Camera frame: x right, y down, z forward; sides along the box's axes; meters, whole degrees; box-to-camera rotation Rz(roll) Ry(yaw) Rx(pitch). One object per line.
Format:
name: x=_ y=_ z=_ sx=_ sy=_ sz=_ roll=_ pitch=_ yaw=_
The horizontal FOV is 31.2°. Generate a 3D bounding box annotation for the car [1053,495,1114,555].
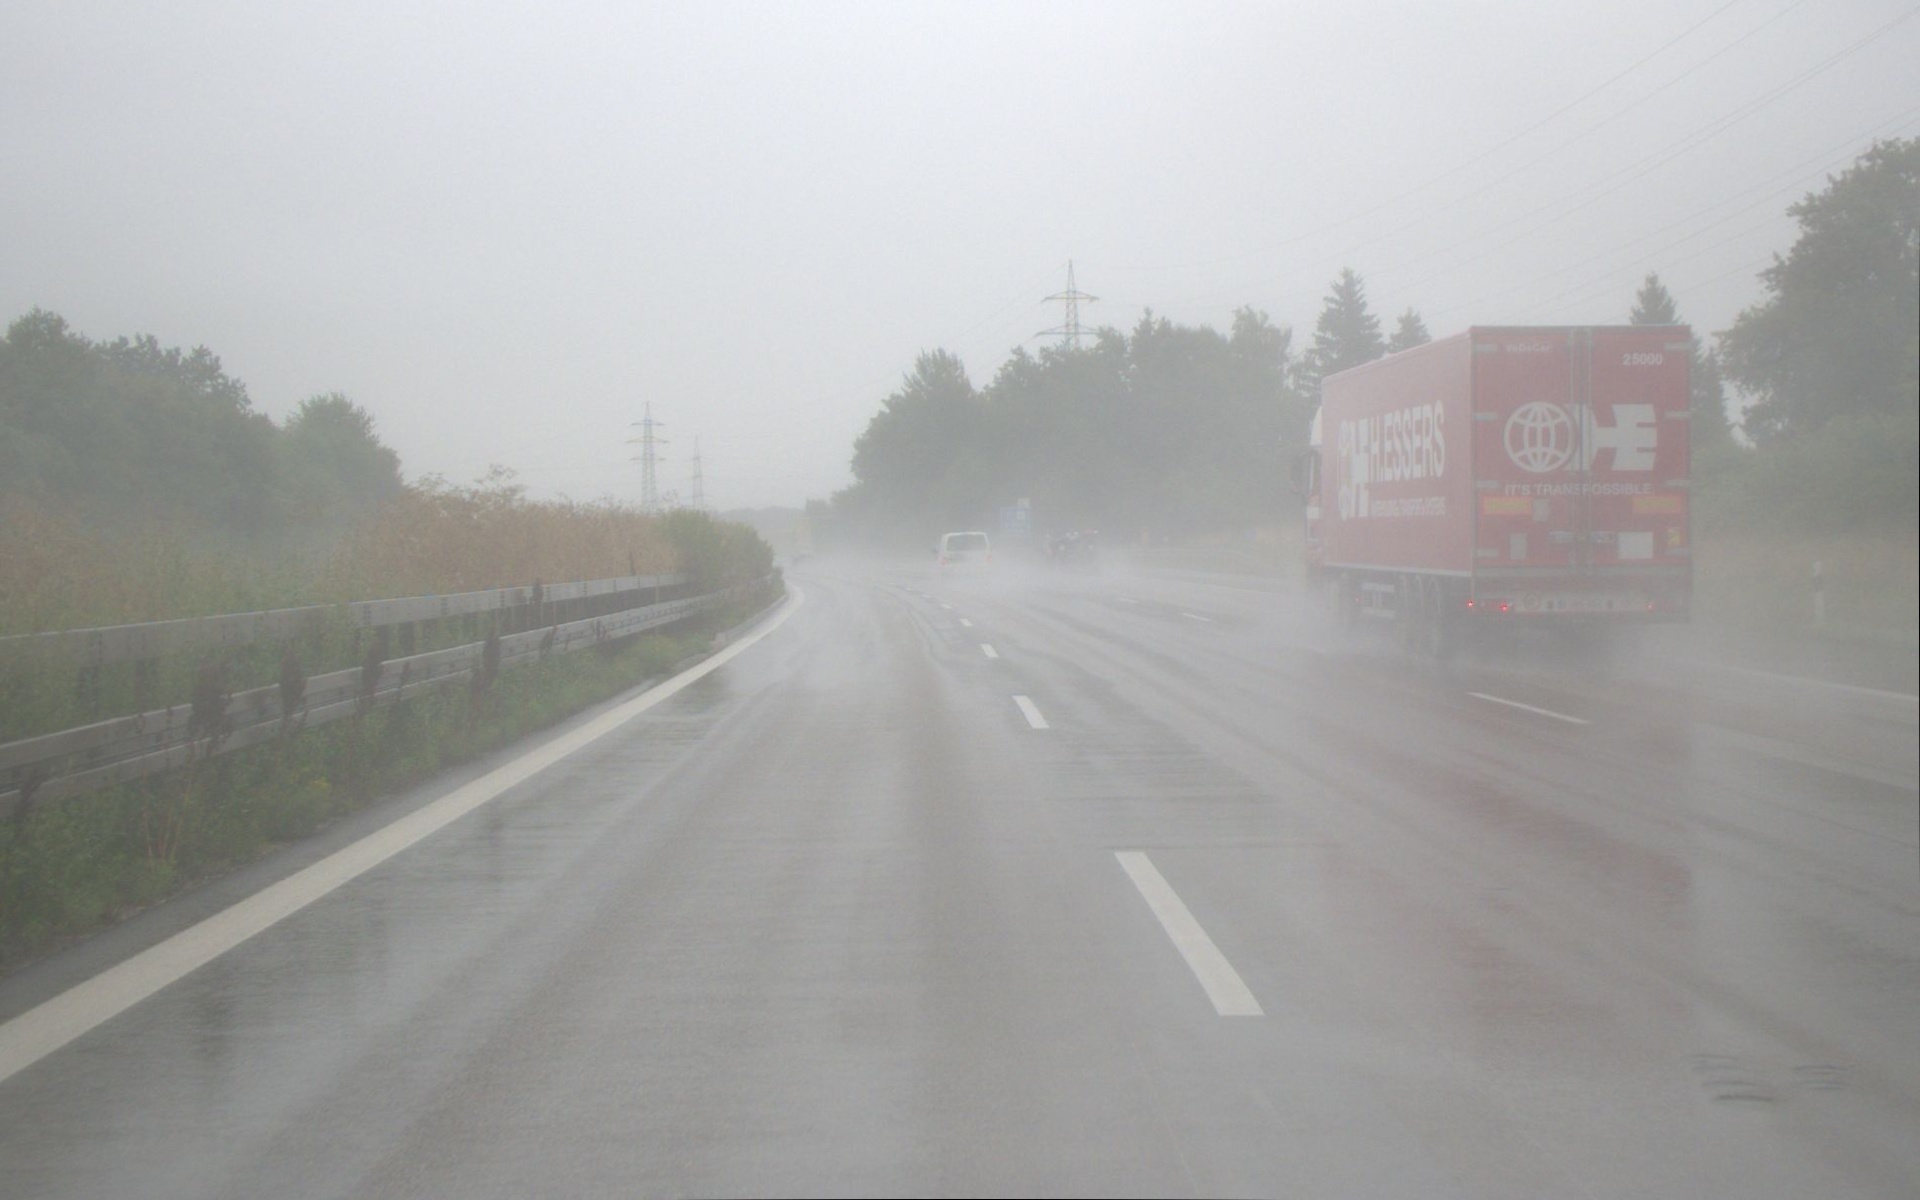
car: x=4.656 y=-2.830 z=129.995 sx=1.807 sy=2.151 sz=4.001 roll=-2 pitch=1 yaw=-4

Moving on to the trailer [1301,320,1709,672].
trailer: x=6.980 y=-1.309 z=46.532 sx=2.620 sy=3.941 sz=13.632 roll=-3 pitch=1 yaw=-2

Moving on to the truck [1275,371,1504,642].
truck: x=6.686 y=-1.443 z=54.227 sx=2.620 sy=3.941 sz=5.433 roll=-3 pitch=1 yaw=-1
